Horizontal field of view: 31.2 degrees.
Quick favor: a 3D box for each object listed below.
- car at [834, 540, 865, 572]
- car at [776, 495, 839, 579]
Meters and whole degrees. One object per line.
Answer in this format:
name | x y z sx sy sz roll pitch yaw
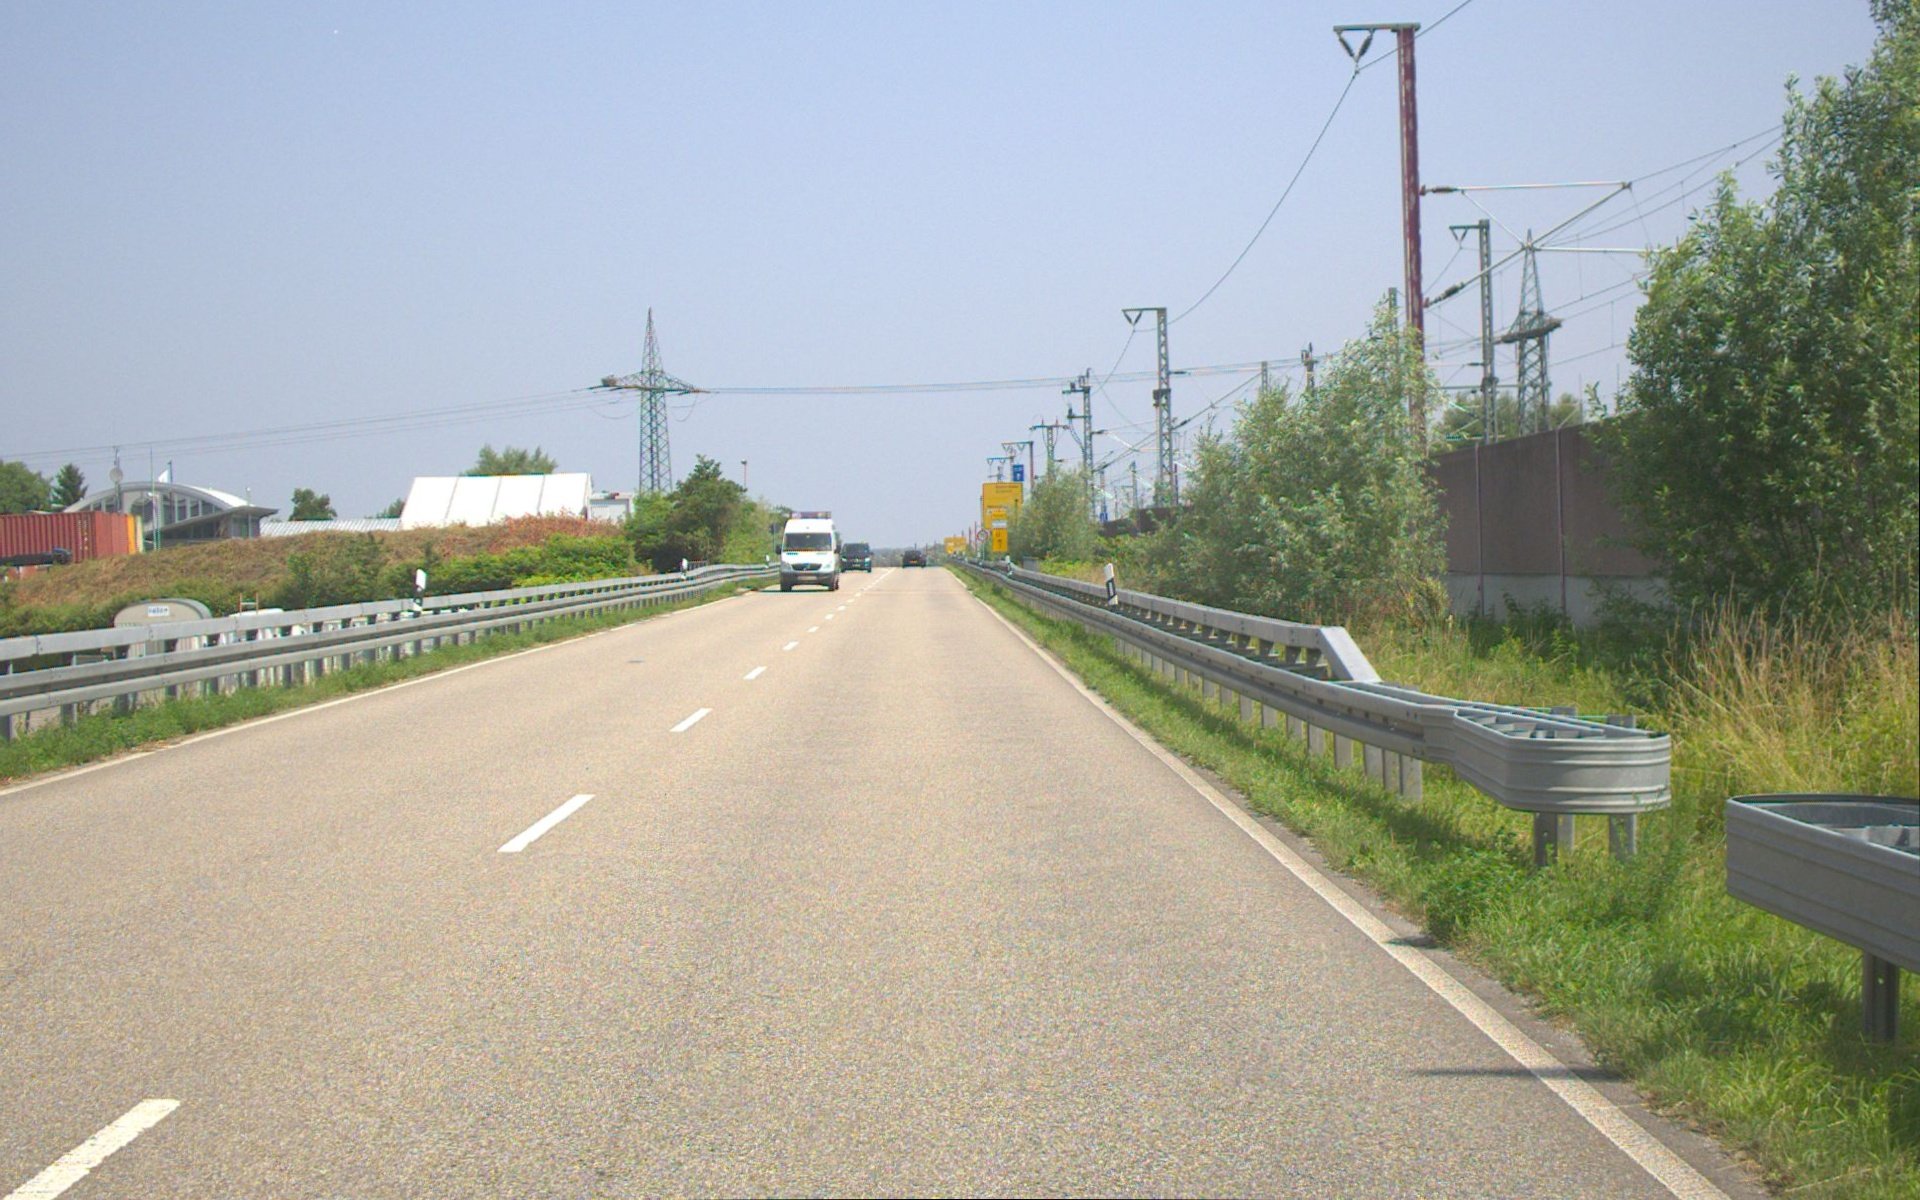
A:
car | -6.975 -2.790 217.265 1.893 2.007 5.370 0 1 -1
car | -5.501 -2.266 124.517 2.079 2.952 6.730 0 1 -1
